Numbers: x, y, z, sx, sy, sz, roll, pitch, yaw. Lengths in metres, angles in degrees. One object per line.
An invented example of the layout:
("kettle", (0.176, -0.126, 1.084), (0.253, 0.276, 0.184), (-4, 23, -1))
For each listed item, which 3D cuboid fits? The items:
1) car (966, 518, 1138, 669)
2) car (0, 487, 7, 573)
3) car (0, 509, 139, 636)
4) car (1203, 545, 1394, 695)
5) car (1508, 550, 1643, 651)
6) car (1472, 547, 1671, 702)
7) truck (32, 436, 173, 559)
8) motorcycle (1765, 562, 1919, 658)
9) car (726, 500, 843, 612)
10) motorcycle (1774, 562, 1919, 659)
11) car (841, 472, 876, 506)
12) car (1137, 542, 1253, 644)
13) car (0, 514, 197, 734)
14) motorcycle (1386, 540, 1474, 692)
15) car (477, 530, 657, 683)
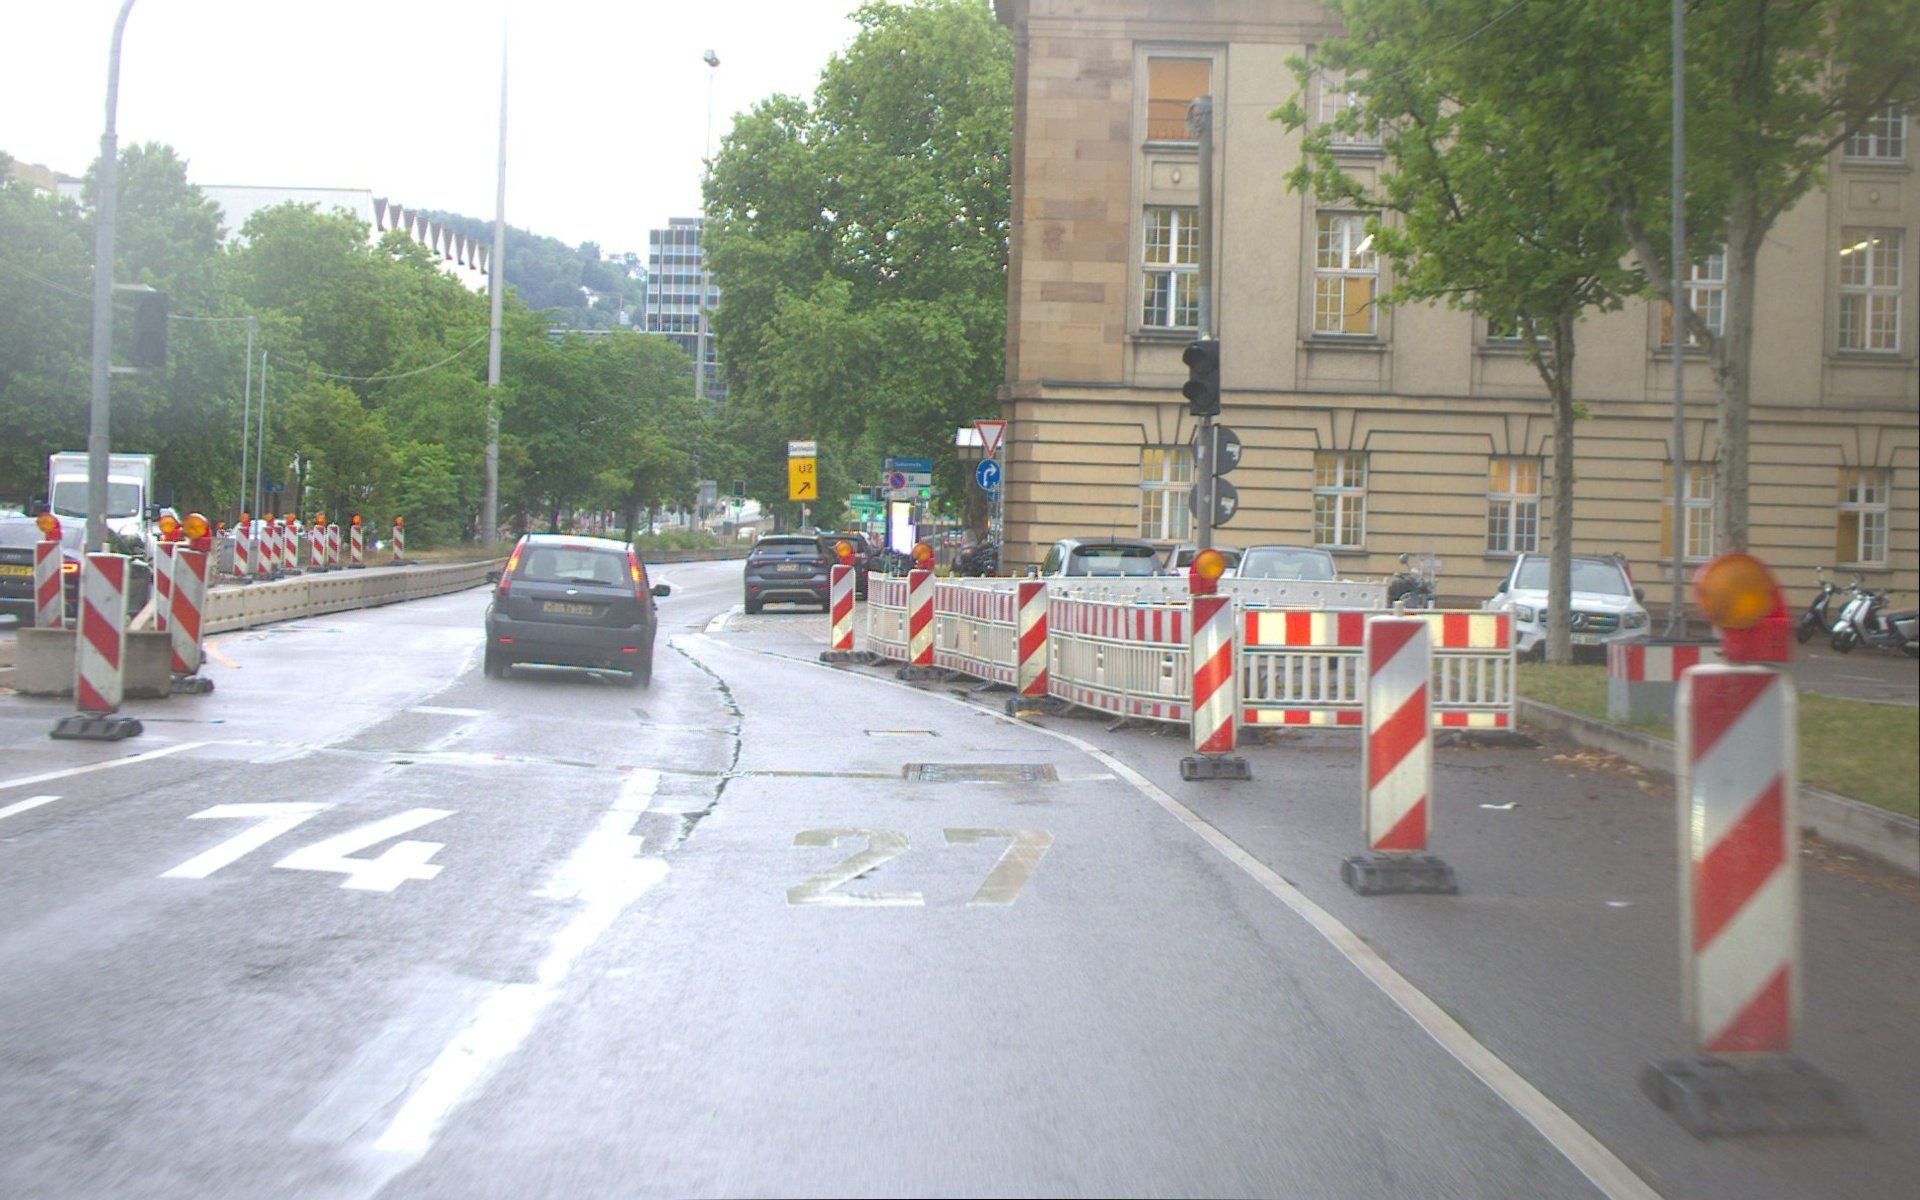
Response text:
("car", (1.130, -0.128, 44.033), (1.993, 1.702, 4.000), (3, 2, 0))
("car", (-17.509, -1.287, 57.562), (1.993, 1.474, 4.000), (4, -1, -1))
("car", (-11.739, -0.387, 44.055), (1.840, 1.405, 4.001), (4, 1, -7))
("car", (4.370, 0.222, 44.903), (1.993, 1.702, 4.000), (3, 2, 0))
("car", (11.429, 0.016, 64.026), (1.994, 1.703, 3.999), (3, 0, 5))
("car", (7.621, 0.265, 43.186), (1.994, 1.702, 4.000), (3, 2, 5))
("truck", (-18.606, -2.183, 74.861), (2.412, 2.331, 5.446), (4, -1, -10))
("motorcycle", (16.293, 0.197, 62.231), (3.162, 1.538, 0.889), (4, -1, 5))
("car", (-3.407, -0.896, 67.506), (1.993, 2.006, 4.000), (3, 2, 0))
("motorcycle", (16.219, 0.220, 61.205), (3.162, 1.538, 0.889), (4, -1, 3))
("car", (-6.803, -7.429, 230.020), (1.993, 2.007, 4.000), (4, -1, -5))
("car", (4.407, -0.157, 64.029), (1.994, 1.702, 4.000), (3, 2, 5))
("car", (-6.126, 0.131, 23.375), (1.385, 1.382, 3.068), (1, 0, -4))
("motorcycle", (5.931, 0.175, 43.526), (0.831, 1.823, 3.143), (2, 1, 4))
("car", (-3.944, 0.040, 34.835), (1.669, 1.422, 3.758), (2, 1, -5))
